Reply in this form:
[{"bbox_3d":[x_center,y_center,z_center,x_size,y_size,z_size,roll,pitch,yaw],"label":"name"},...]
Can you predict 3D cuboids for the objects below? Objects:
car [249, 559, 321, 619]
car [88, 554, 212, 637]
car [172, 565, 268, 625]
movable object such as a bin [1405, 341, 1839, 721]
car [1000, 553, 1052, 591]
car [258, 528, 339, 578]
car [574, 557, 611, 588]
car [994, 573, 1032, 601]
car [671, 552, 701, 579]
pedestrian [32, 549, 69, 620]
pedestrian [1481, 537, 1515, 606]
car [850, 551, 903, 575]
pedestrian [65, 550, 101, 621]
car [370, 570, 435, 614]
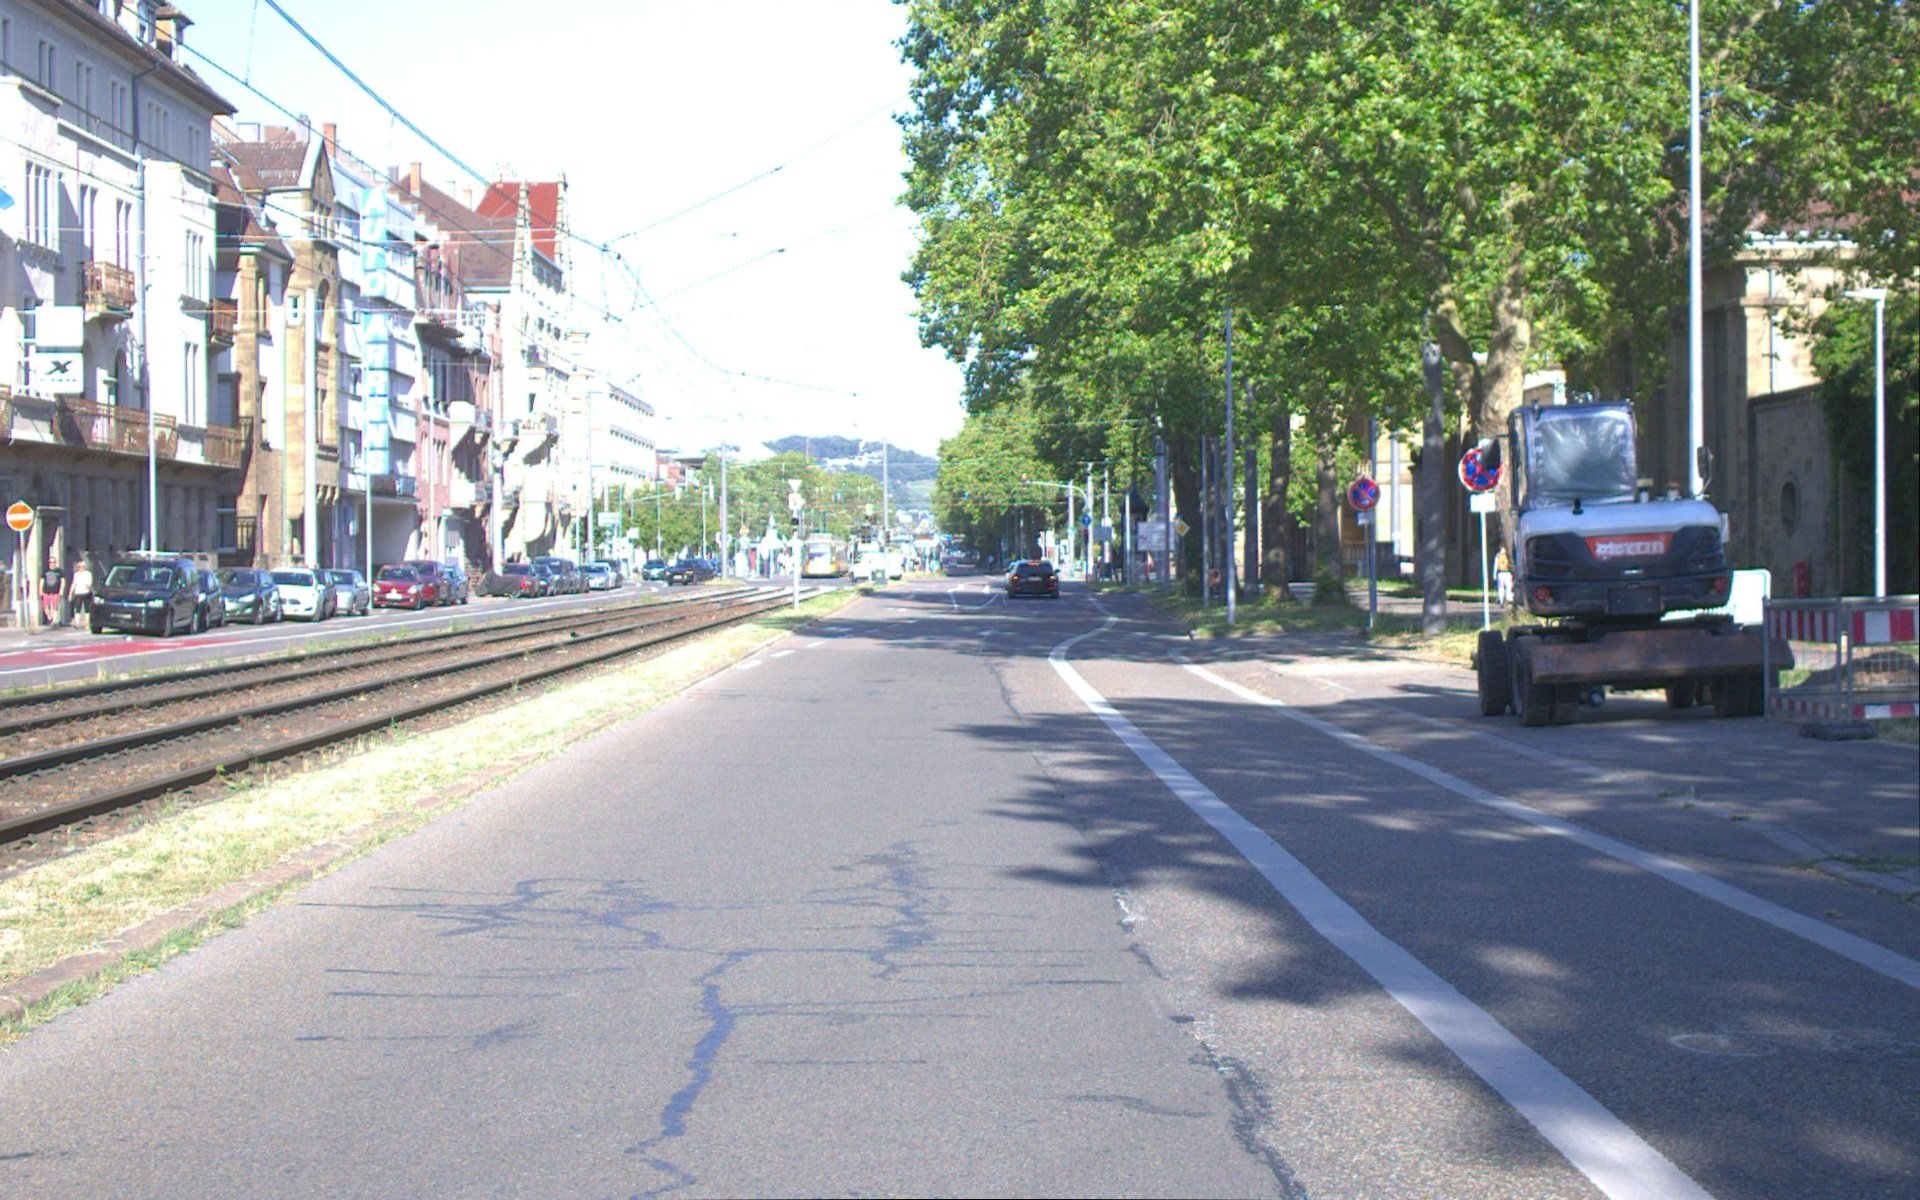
[{"bbox_3d":[-18.908,-0.291,96.434,1.635,1.464,3.983,-1,-2,-7],"label":"car"},{"bbox_3d":[-18.761,-0.123,79.792,1.862,1.780,4.402,2,1,-1],"label":"car"},{"bbox_3d":[-19.486,-0.147,90.666,1.635,1.464,4.159,3,1,-1],"label":"car"},{"bbox_3d":[6.195,-0.662,33.367,2.744,3.135,7.219,-3,1,1],"label":"movable object such as a bin"},{"bbox_3d":[2.473,-1.061,129.429,1.833,1.386,4.159,0,1,-1],"label":"car"},{"bbox_3d":[-20.205,-1.450,105.111,1.635,1.464,4.159,1,1,0],"label":"car"},{"bbox_3d":[-19.701,-1.489,184.579,1.794,1.505,4.001,3,1,-5],"label":"car"},{"bbox_3d":[2.721,-0.683,176.381,1.833,1.386,4.159,0,1,-1],"label":"car"},{"bbox_3d":[-16.826,-2.117,211.401,1.635,1.596,4.159,-1,1,-2],"label":"car"},{"bbox_3d":[-21.963,-0.377,83.004,0.589,1.691,0.857,2,0,2],"label":"pedestrian"},{"bbox_3d":[13.400,-0.717,85.601,0.608,1.676,0.636,-4,1,-2],"label":"pedestrian"},{"bbox_3d":[-5.409,-2.408,223.212,1.794,1.505,4.001,2,0,-28],"label":"car"},{"bbox_3d":[-21.178,-0.354,83.018,0.589,1.691,0.857,2,0,2],"label":"pedestrian"},{"bbox_3d":[-19.049,-0.288,117.644,1.833,1.386,4.036,3,0,-5],"label":"car"}]
